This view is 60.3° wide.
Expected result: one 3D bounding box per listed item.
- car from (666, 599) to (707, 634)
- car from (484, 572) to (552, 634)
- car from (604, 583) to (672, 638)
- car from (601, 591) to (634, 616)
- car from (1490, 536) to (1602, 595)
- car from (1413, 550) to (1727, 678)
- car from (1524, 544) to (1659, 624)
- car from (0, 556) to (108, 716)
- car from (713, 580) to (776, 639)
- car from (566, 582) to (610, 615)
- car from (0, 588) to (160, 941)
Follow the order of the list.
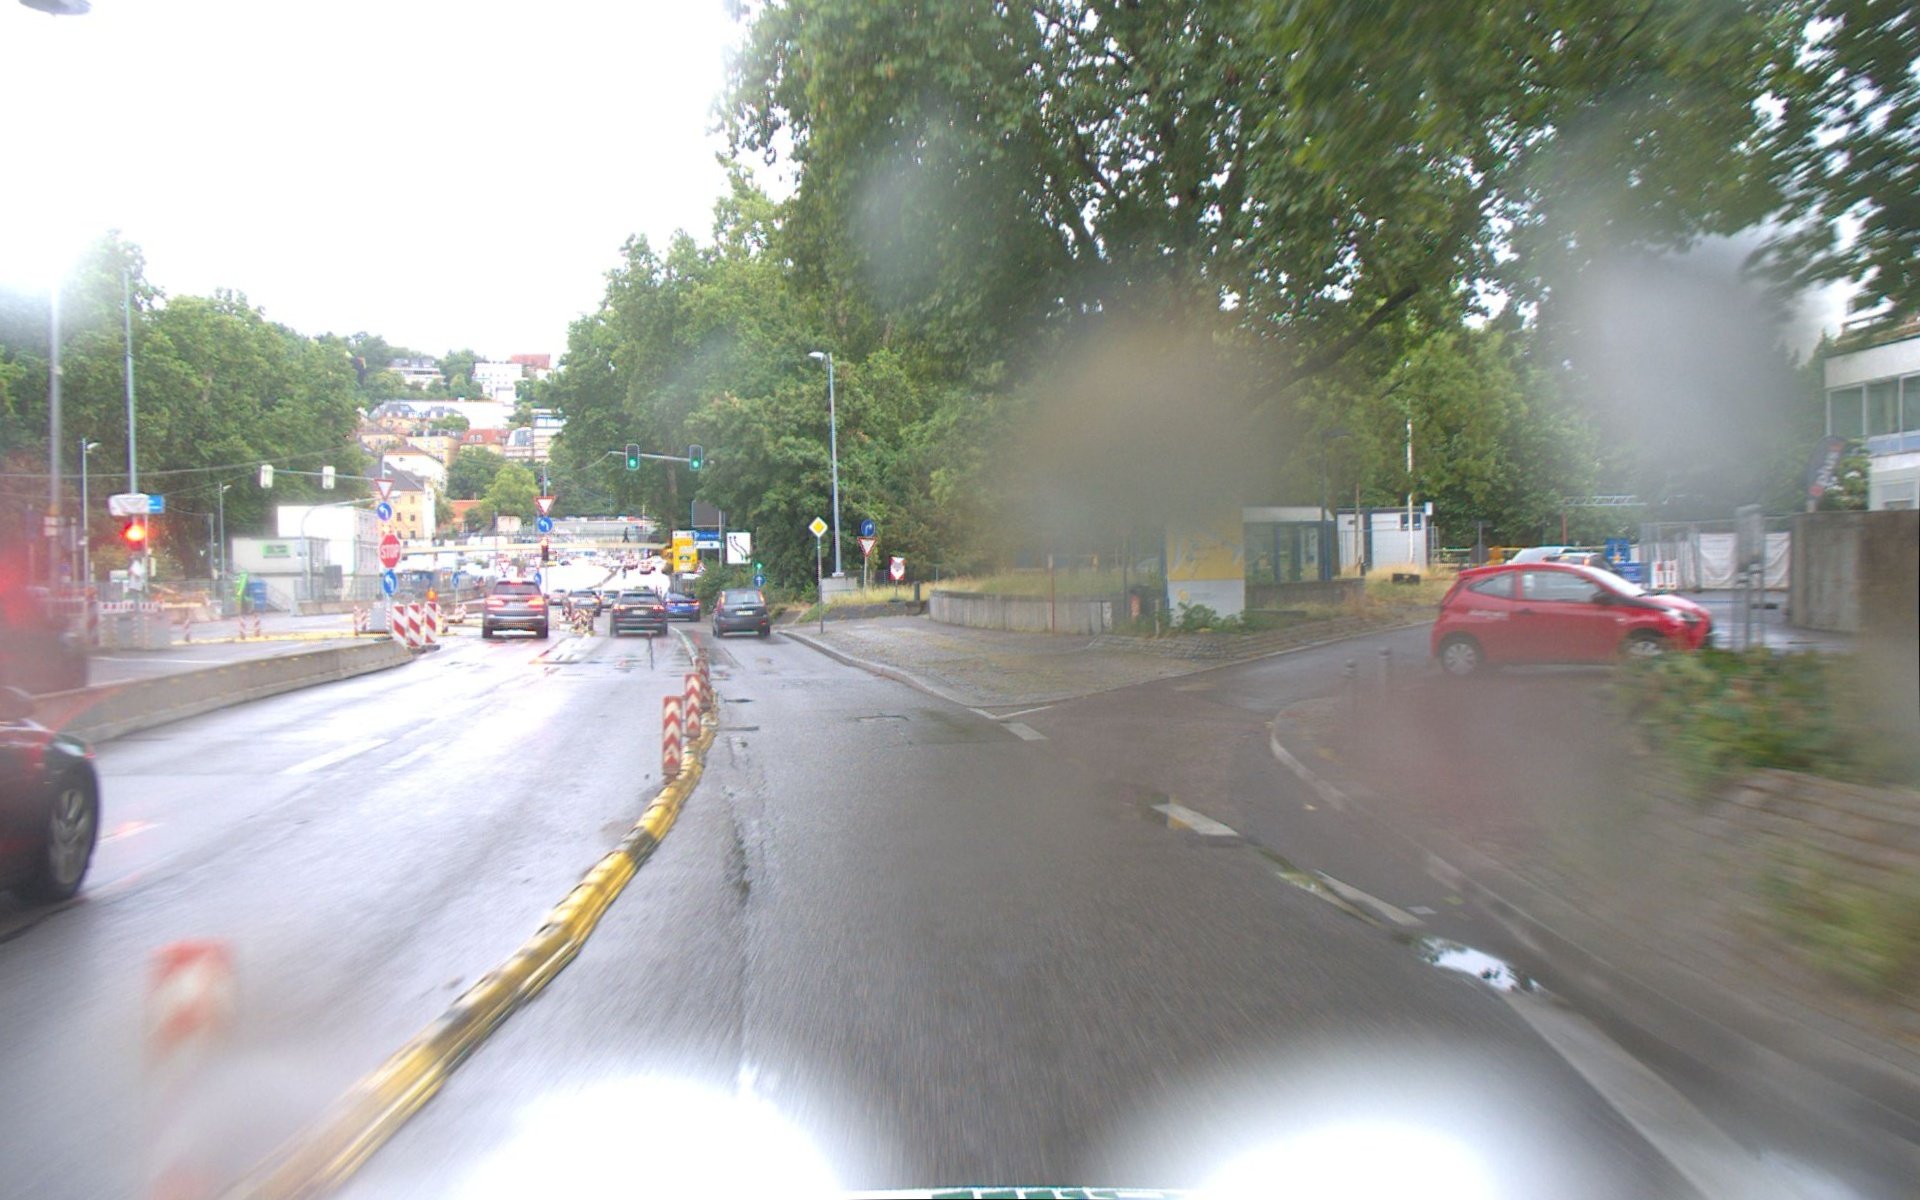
[{"bbox_3d":[-12.921,0.747,78.344,1.641,1.609,3.236,0,0,-4],"label":"car"},{"bbox_3d":[-13.734,0.087,51.578,1.960,1.859,3.985,0,0,-14],"label":"car"},{"bbox_3d":[-10.563,0.327,54.457,1.795,1.715,4.129,-1,0,-6],"label":"car"},{"bbox_3d":[-22.883,0.233,110.317,1.611,1.653,3.772,0,0,-20],"label":"car"},{"bbox_3d":[19.049,-1.074,53.675,1.915,1.812,4.428,0,0,42],"label":"car"},{"bbox_3d":[7.926,0.160,21.578,3.545,1.532,1.728,0,0,35],"label":"car"},{"bbox_3d":[17.183,-0.404,44.882,2.093,2.049,4.626,0,0,39],"label":"car"},{"bbox_3d":[-10.531,0.386,17.072,1.958,1.556,4.140,-2,0,-11],"label":"car"},{"bbox_3d":[-6.619,0.276,51.073,1.816,1.747,3.995,0,0,-6],"label":"car"},{"bbox_3d":[-20.378,-0.072,90.818,1.867,1.747,3.995,0,0,-6],"label":"car"},{"bbox_3d":[-5.037,0.727,6.550,1.842,1.534,4.845,0,0,-7],"label":"car"}]
